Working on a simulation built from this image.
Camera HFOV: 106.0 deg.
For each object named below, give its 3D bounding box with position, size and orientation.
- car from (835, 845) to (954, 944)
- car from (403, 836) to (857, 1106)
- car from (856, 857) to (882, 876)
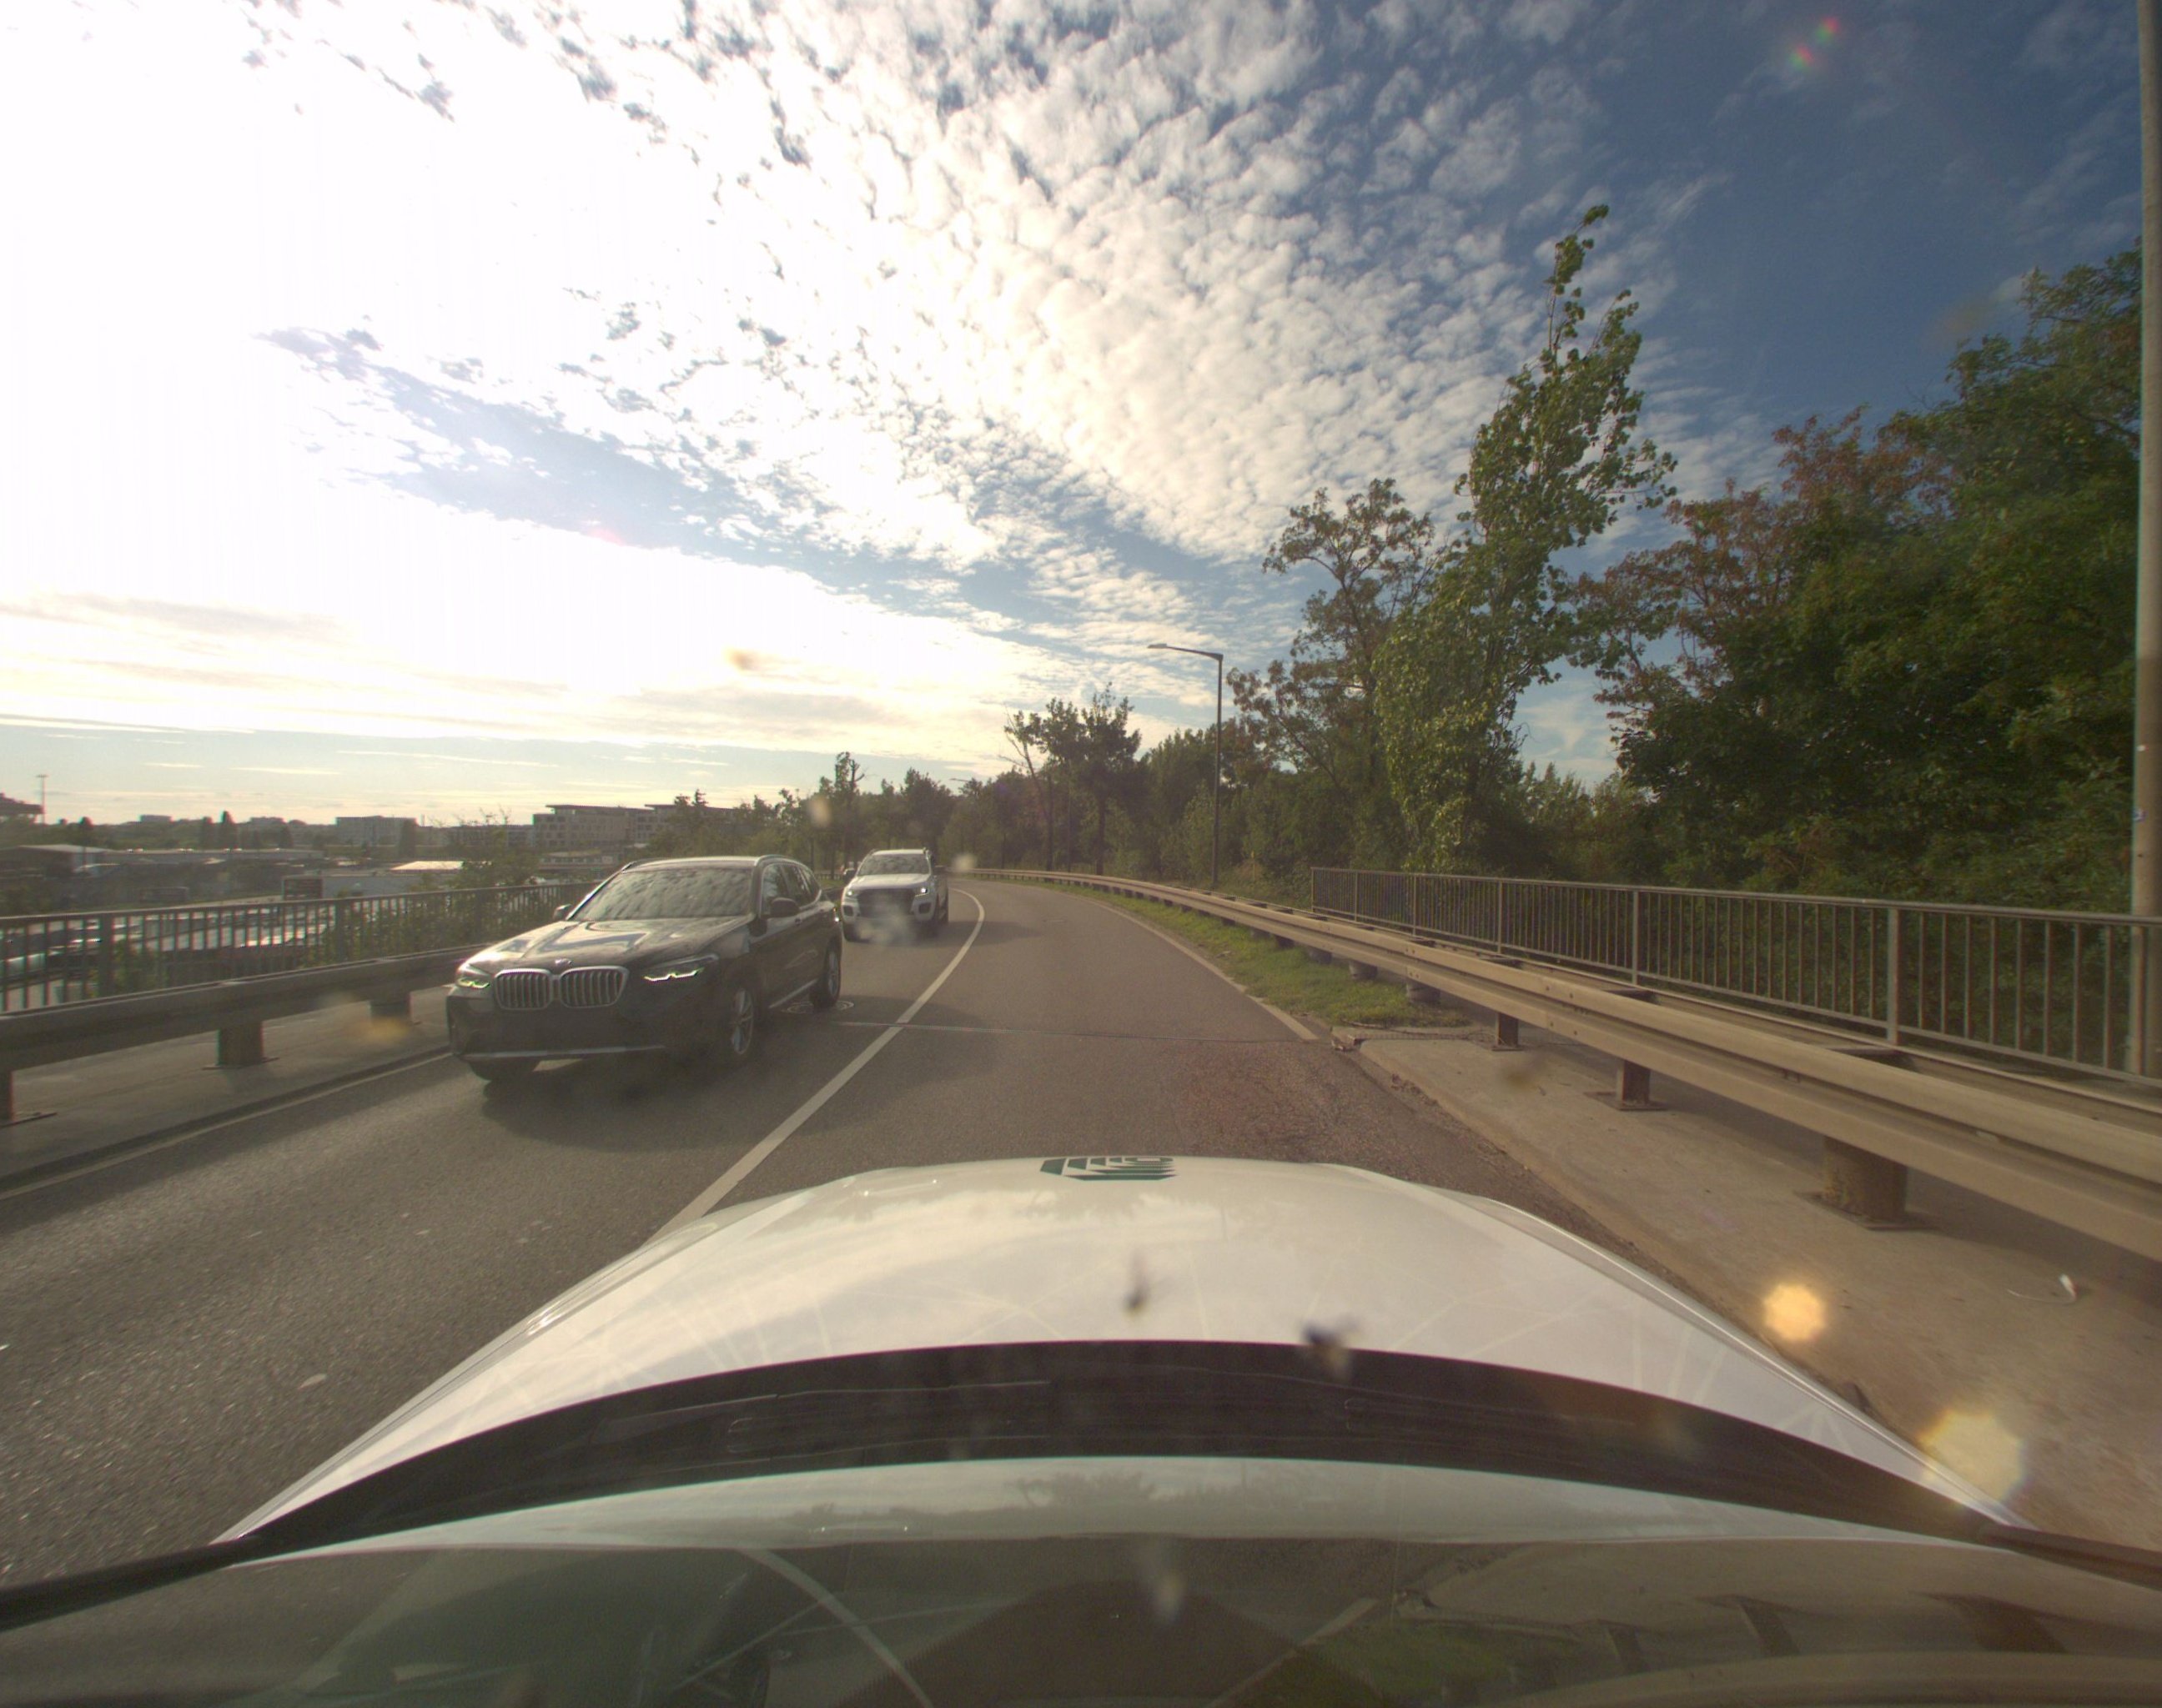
[{"bbox_3d":[-3.937,0.778,18.092,1.898,1.810,5.392,-2,0,-6],"label":"car"},{"bbox_3d":[-3.534,0.775,7.581,1.886,1.649,4.634,-2,-1,-5],"label":"car"},{"bbox_3d":[-19.296,1.121,73.987,1.815,1.674,4.268,-1,0,-20],"label":"car"}]
